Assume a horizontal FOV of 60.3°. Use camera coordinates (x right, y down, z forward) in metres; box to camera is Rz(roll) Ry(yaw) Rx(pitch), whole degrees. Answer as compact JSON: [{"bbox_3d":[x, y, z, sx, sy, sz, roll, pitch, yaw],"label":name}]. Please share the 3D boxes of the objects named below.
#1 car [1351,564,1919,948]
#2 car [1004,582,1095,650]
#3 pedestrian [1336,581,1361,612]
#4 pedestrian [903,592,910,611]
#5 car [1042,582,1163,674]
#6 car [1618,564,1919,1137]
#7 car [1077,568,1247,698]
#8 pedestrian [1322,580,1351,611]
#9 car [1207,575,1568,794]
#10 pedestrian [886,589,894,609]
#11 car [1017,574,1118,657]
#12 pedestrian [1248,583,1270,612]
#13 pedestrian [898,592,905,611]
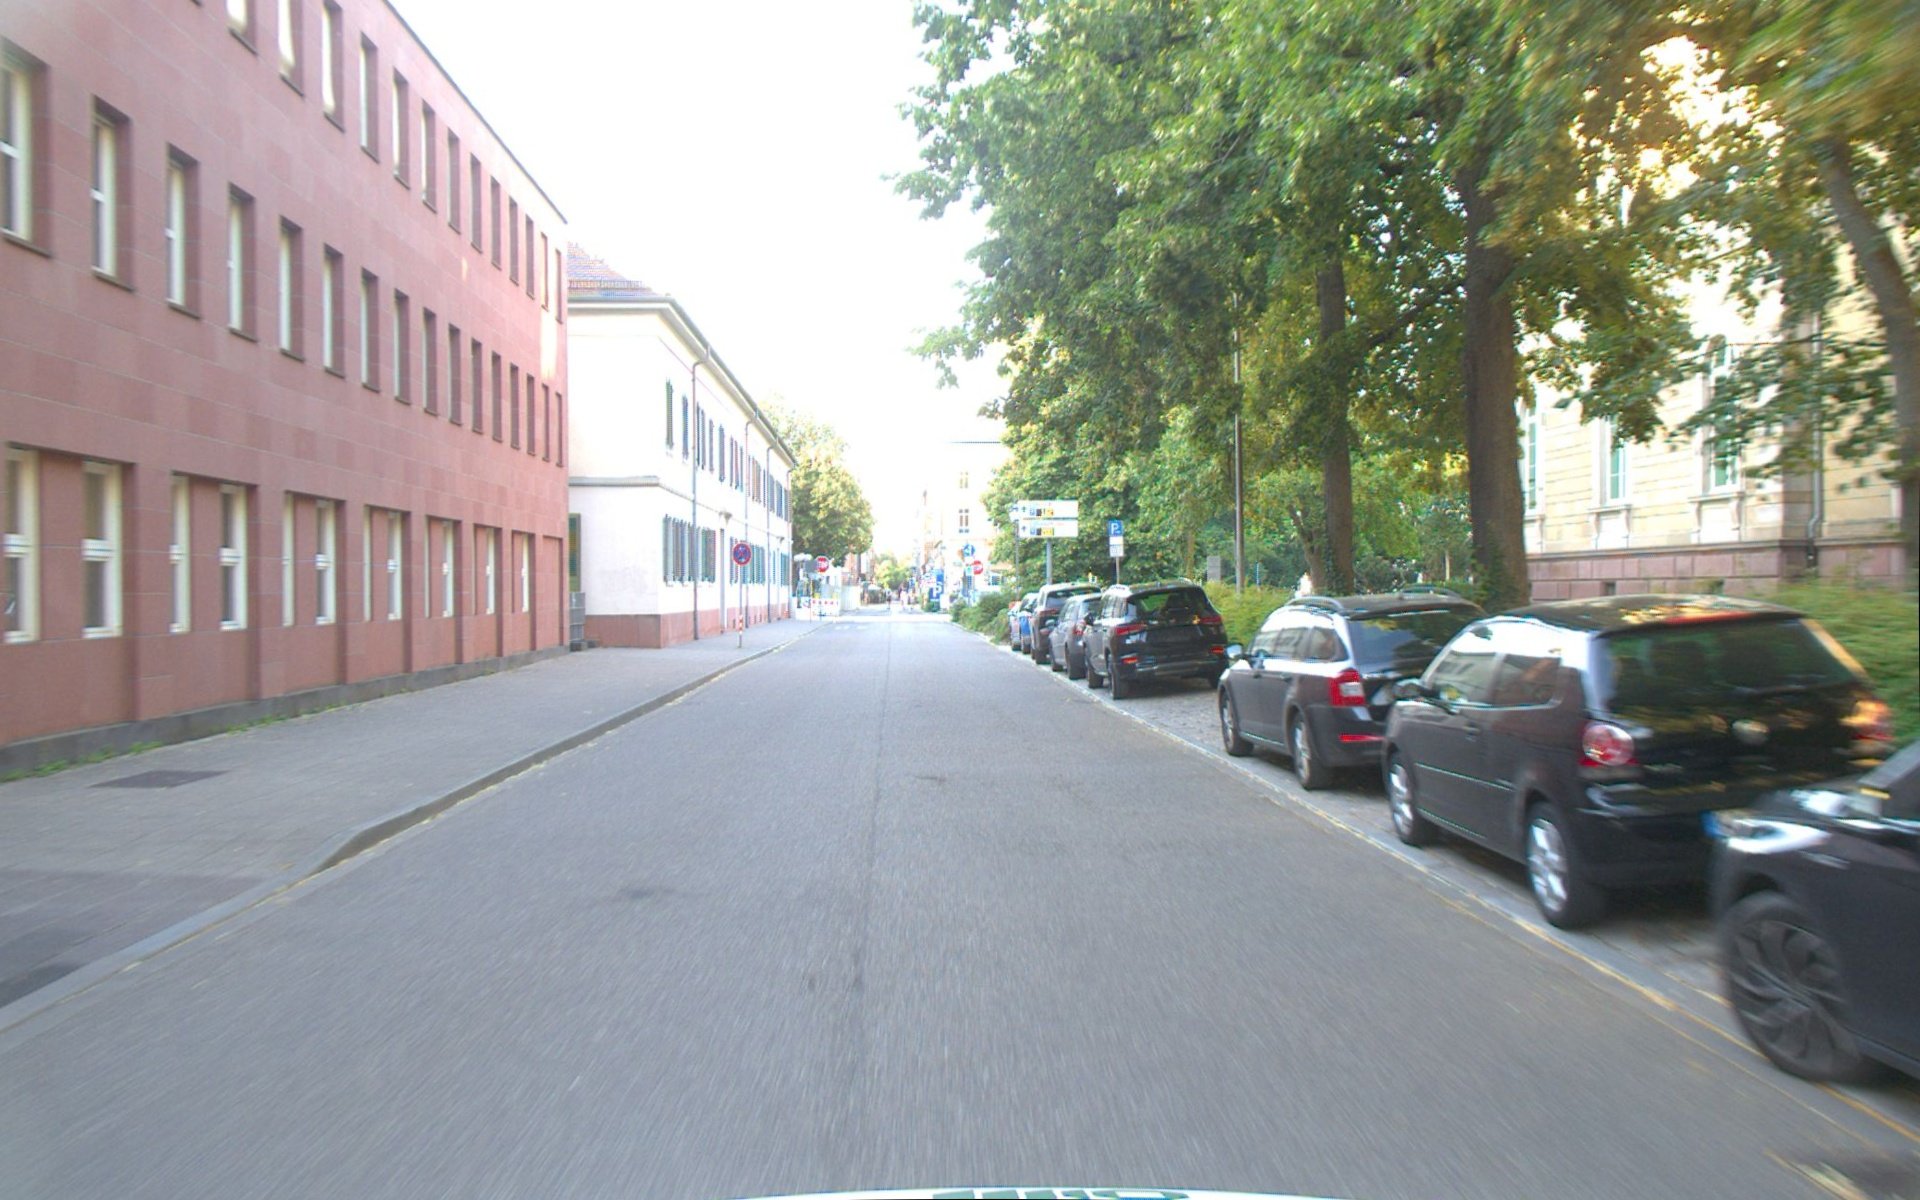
[{"bbox_3d":[3.562,0.650,8.968,1.689,1.560,4.187,-1,0,-3],"label":"car"},{"bbox_3d":[2.242,0.386,42.617,1.690,1.514,4.607,-4,0,-4],"label":"car"},{"bbox_3d":[17.333,-0.173,73.793,0.747,1.371,0.784,-1,0,-19],"label":"pedestrian"},{"bbox_3d":[-4.754,0.129,147.426,0.644,1.645,0.745,-1,0,-2],"label":"pedestrian"},{"bbox_3d":[2.587,0.500,30.929,1.689,1.565,4.187,-1,0,-3],"label":"car"},{"bbox_3d":[3.520,0.657,4.038,1.690,1.560,4.620,-5,0,-3],"label":"car"},{"bbox_3d":[3.005,0.433,25.531,1.771,1.679,4.416,-5,1,-3],"label":"car"},{"bbox_3d":[16.644,-0.194,73.118,0.902,1.371,0.880,-1,0,-18],"label":"pedestrian"},{"bbox_3d":[3.410,0.616,14.115,1.700,1.533,4.519,-1,0,-3],"label":"car"},{"bbox_3d":[-6.307,-0.073,149.356,0.644,1.790,0.745,-1,0,-2],"label":"pedestrian"},{"bbox_3d":[2.302,0.341,36.559,1.689,1.680,4.710,-1,0,-3],"label":"car"},{"bbox_3d":[12.899,-0.116,71.409,0.790,1.212,0.789,-1,0,1],"label":"pedestrian"},{"bbox_3d":[-5.277,0.114,149.473,0.644,1.664,0.745,-1,0,-2],"label":"pedestrian"}]
